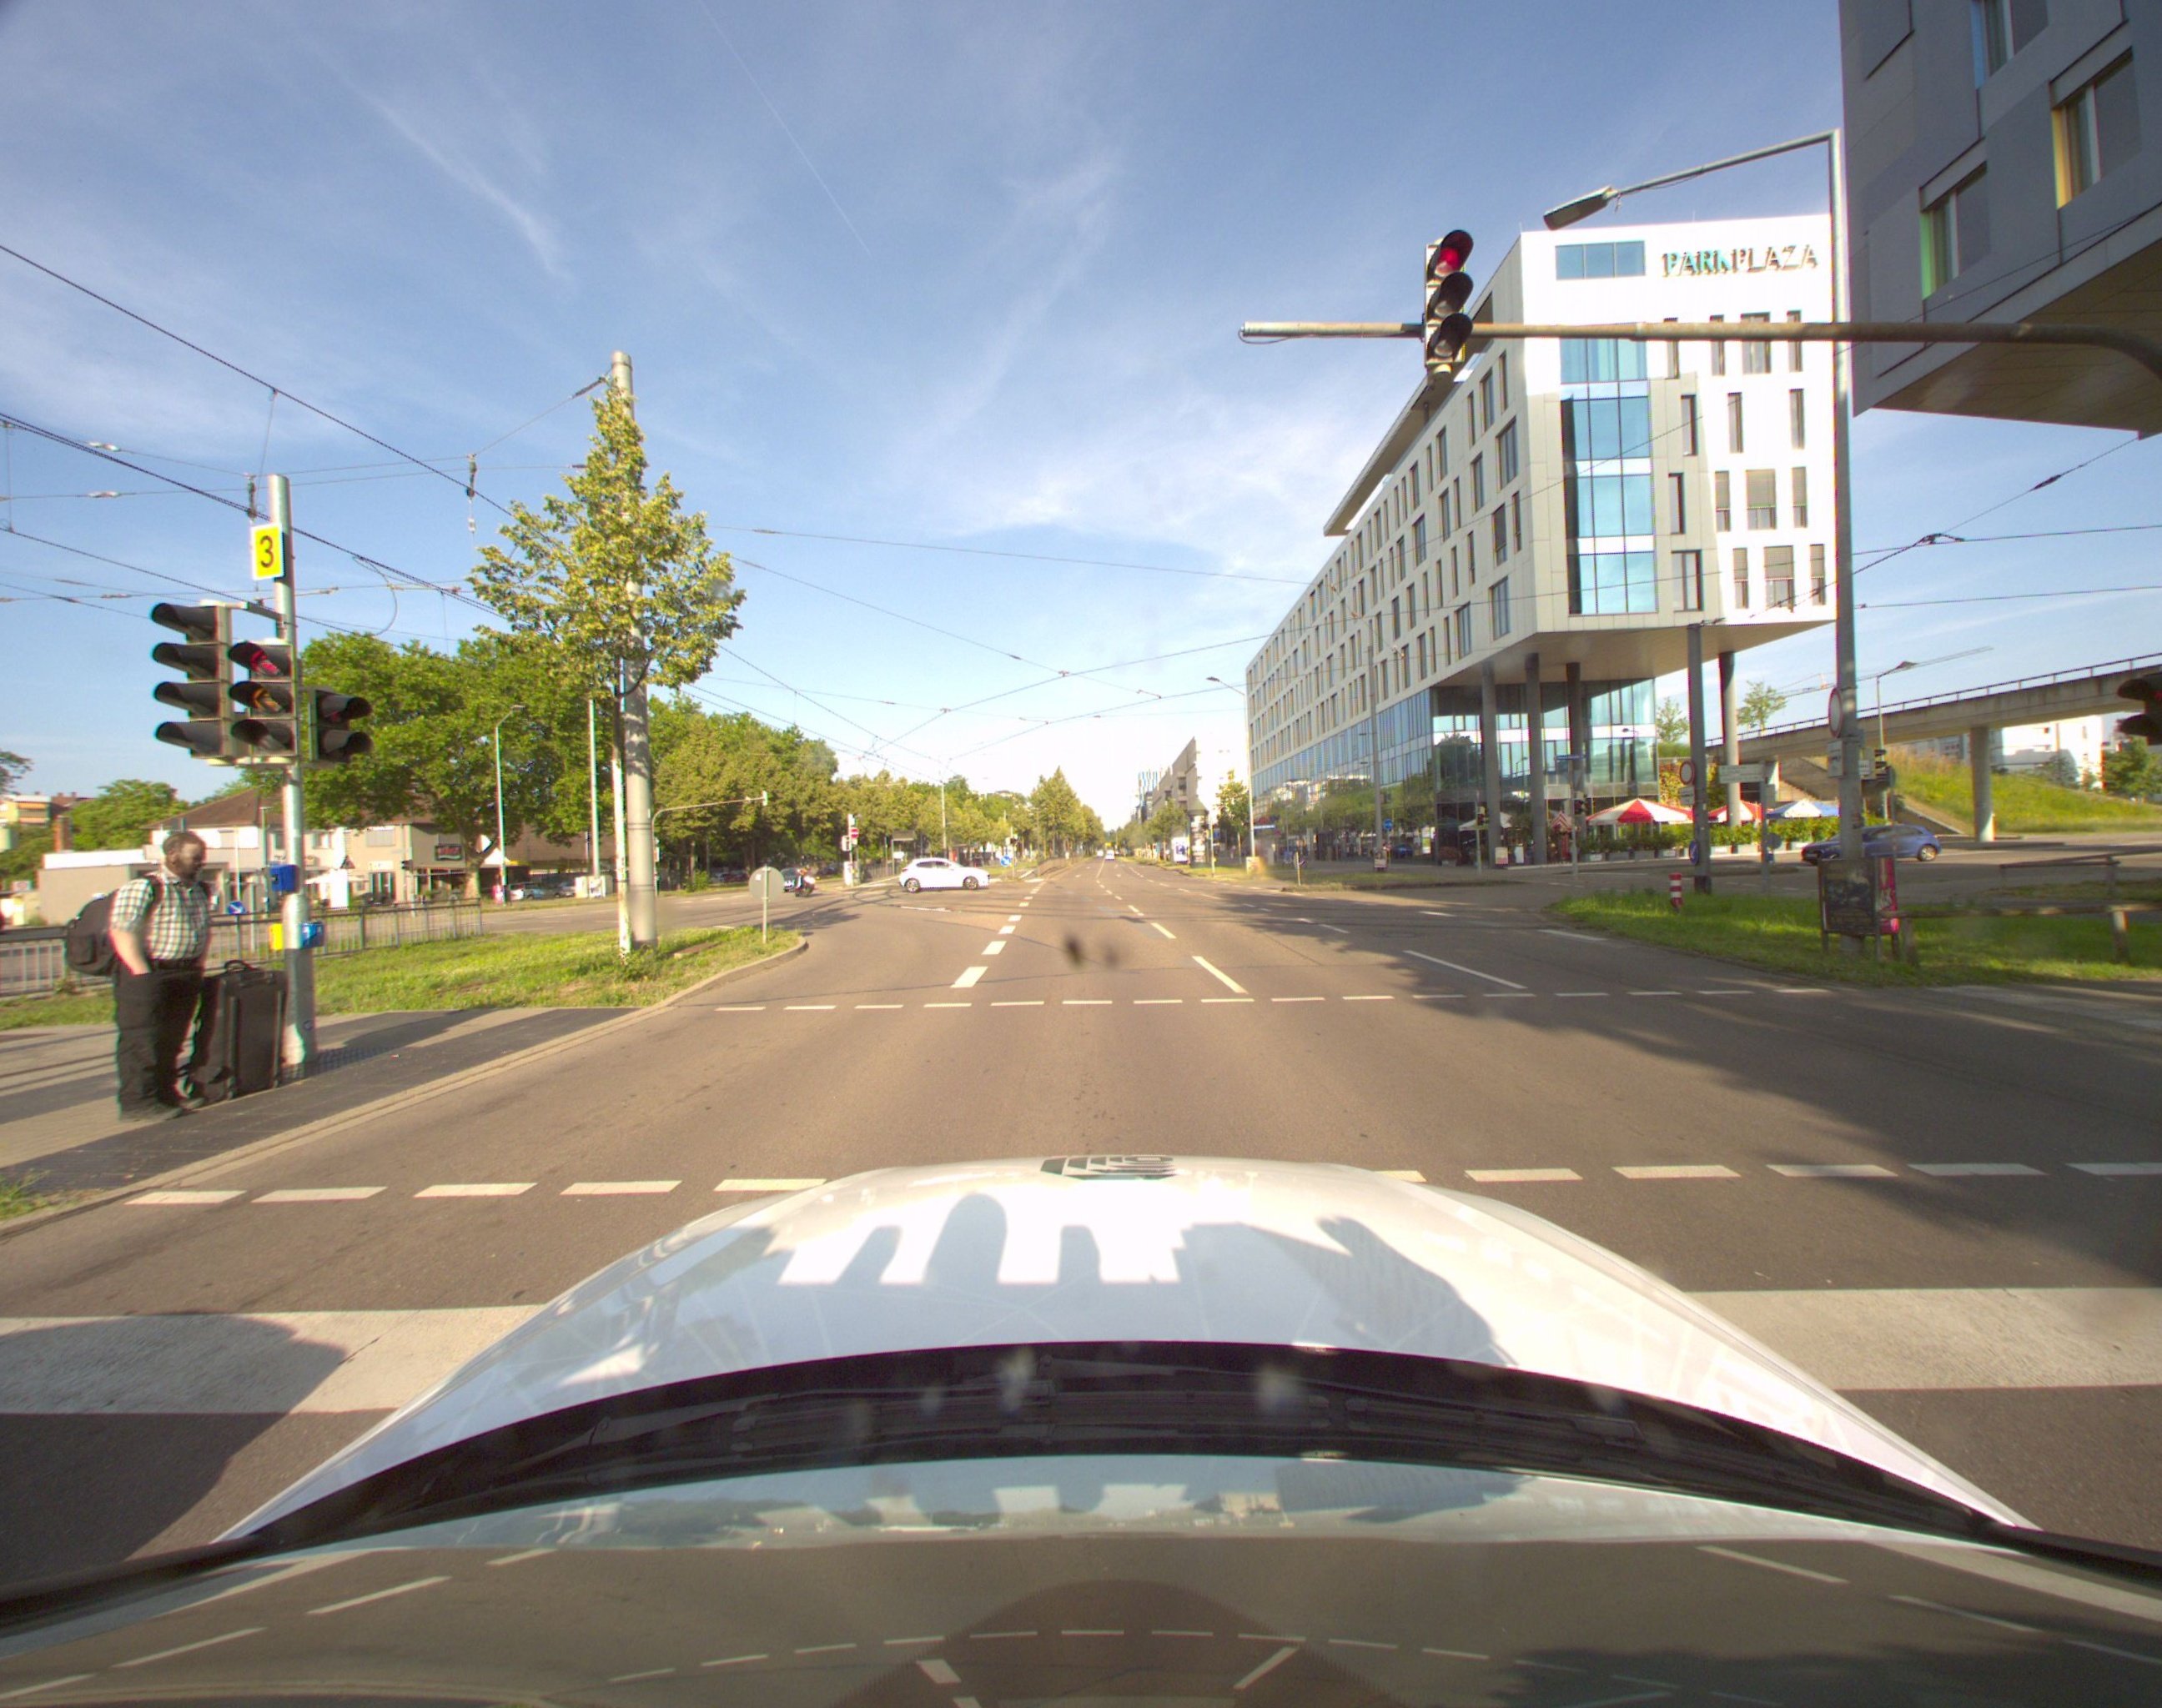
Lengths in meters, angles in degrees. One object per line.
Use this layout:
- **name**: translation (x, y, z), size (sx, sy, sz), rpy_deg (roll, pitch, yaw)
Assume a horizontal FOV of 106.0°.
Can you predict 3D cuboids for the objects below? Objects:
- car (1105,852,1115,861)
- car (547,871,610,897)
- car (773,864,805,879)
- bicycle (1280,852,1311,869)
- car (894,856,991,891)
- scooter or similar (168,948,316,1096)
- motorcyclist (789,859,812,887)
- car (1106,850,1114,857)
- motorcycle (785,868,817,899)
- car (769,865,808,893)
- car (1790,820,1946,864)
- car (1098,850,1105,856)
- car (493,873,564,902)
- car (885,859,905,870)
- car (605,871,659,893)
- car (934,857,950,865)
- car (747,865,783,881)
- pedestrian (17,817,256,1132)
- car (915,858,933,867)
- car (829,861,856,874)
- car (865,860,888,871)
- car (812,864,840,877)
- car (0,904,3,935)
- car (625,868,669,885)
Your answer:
- **car**: translation (5.655, 0.430, 159.101), size (1.857, 1.684, 4.003), rpy_deg (0, 1, 2)
- **car**: translation (-37.704, 2.244, 61.210), size (1.871, 1.750, 4.008), rpy_deg (-3, 0, 7)
- **car**: translation (-34.050, 2.062, 95.167), size (1.871, 1.559, 4.008), rpy_deg (-3, 0, 7)
- **bicycle**: translation (13.899, 0.395, 52.836), size (0.778, 1.032, 1.856), rpy_deg (-2, 2, -42)
- **car**: translation (-6.234, 0.872, 37.040), size (4.068, 1.504, 1.999), rpy_deg (-1, 0, -2)
- **scooter or similar**: translation (-5.658, 1.119, 5.510), size (0.546, 0.907, 0.430), rpy_deg (-1, 0, 2)
- **motorcyclist**: translation (-12.518, 0.844, 36.365), size (0.787, 1.202, 0.839), rpy_deg (-1, 0, -32)
- **car**: translation (6.770, -0.068, 191.823), size (1.857, 1.684, 4.003), rpy_deg (0, 1, 2)
- **motorcycle**: translation (-12.530, 1.285, 36.361), size (0.824, 1.263, 2.524), rpy_deg (-1, 0, -31)
- **car**: translation (-17.089, 1.458, 47.776), size (1.732, 1.461, 4.550), rpy_deg (-3, 0, -15)
- **car**: translation (30.239, -0.466, 31.387), size (4.170, 1.424, 1.859), rpy_deg (-3, 0, 1)
- **car**: translation (5.885, -0.370, 233.168), size (2.007, 1.684, 4.003), rpy_deg (0, 1, 2)
- **car**: translation (-38.222, 2.295, 56.459), size (1.871, 1.750, 4.008), rpy_deg (-3, 0, 7)
- **car**: translation (-29.695, 1.644, 130.026), size (1.871, 1.559, 4.008), rpy_deg (-3, 0, 7)
- **car**: translation (-37.015, 2.275, 67.252), size (1.871, 1.559, 4.008), rpy_deg (-3, 0, 7)
- **car**: translation (-26.784, 1.331, 156.824), size (1.871, 1.559, 4.008), rpy_deg (-3, 0, 7)
- **car**: translation (-34.740, 2.038, 89.608), size (1.871, 1.559, 4.008), rpy_deg (-3, 0, 7)
- **pedestrian**: translation (-5.720, 0.689, 4.971), size (0.697, 1.792, 0.636), rpy_deg (-1, 0, 2)
- **car**: translation (-28.206, 1.465, 146.180), size (1.871, 1.559, 4.008), rpy_deg (-3, 0, 7)
- **car**: translation (-32.093, 1.776, 109.665), size (1.871, 1.559, 4.008), rpy_deg (-3, 0, 7)
- **car**: translation (-30.660, 1.731, 122.121), size (1.871, 1.559, 4.008), rpy_deg (-3, 0, 7)
- **car**: translation (-32.763, 2.087, 104.597), size (1.871, 1.559, 4.008), rpy_deg (-3, 0, 7)
- **car**: translation (-63.523, 3.796, 45.649), size (3.964, 1.728, 2.005), rpy_deg (-2, 0, 8)
- **car**: translation (-43.775, 2.219, 82.169), size (1.871, 1.559, 4.008), rpy_deg (-3, 0, 7)
